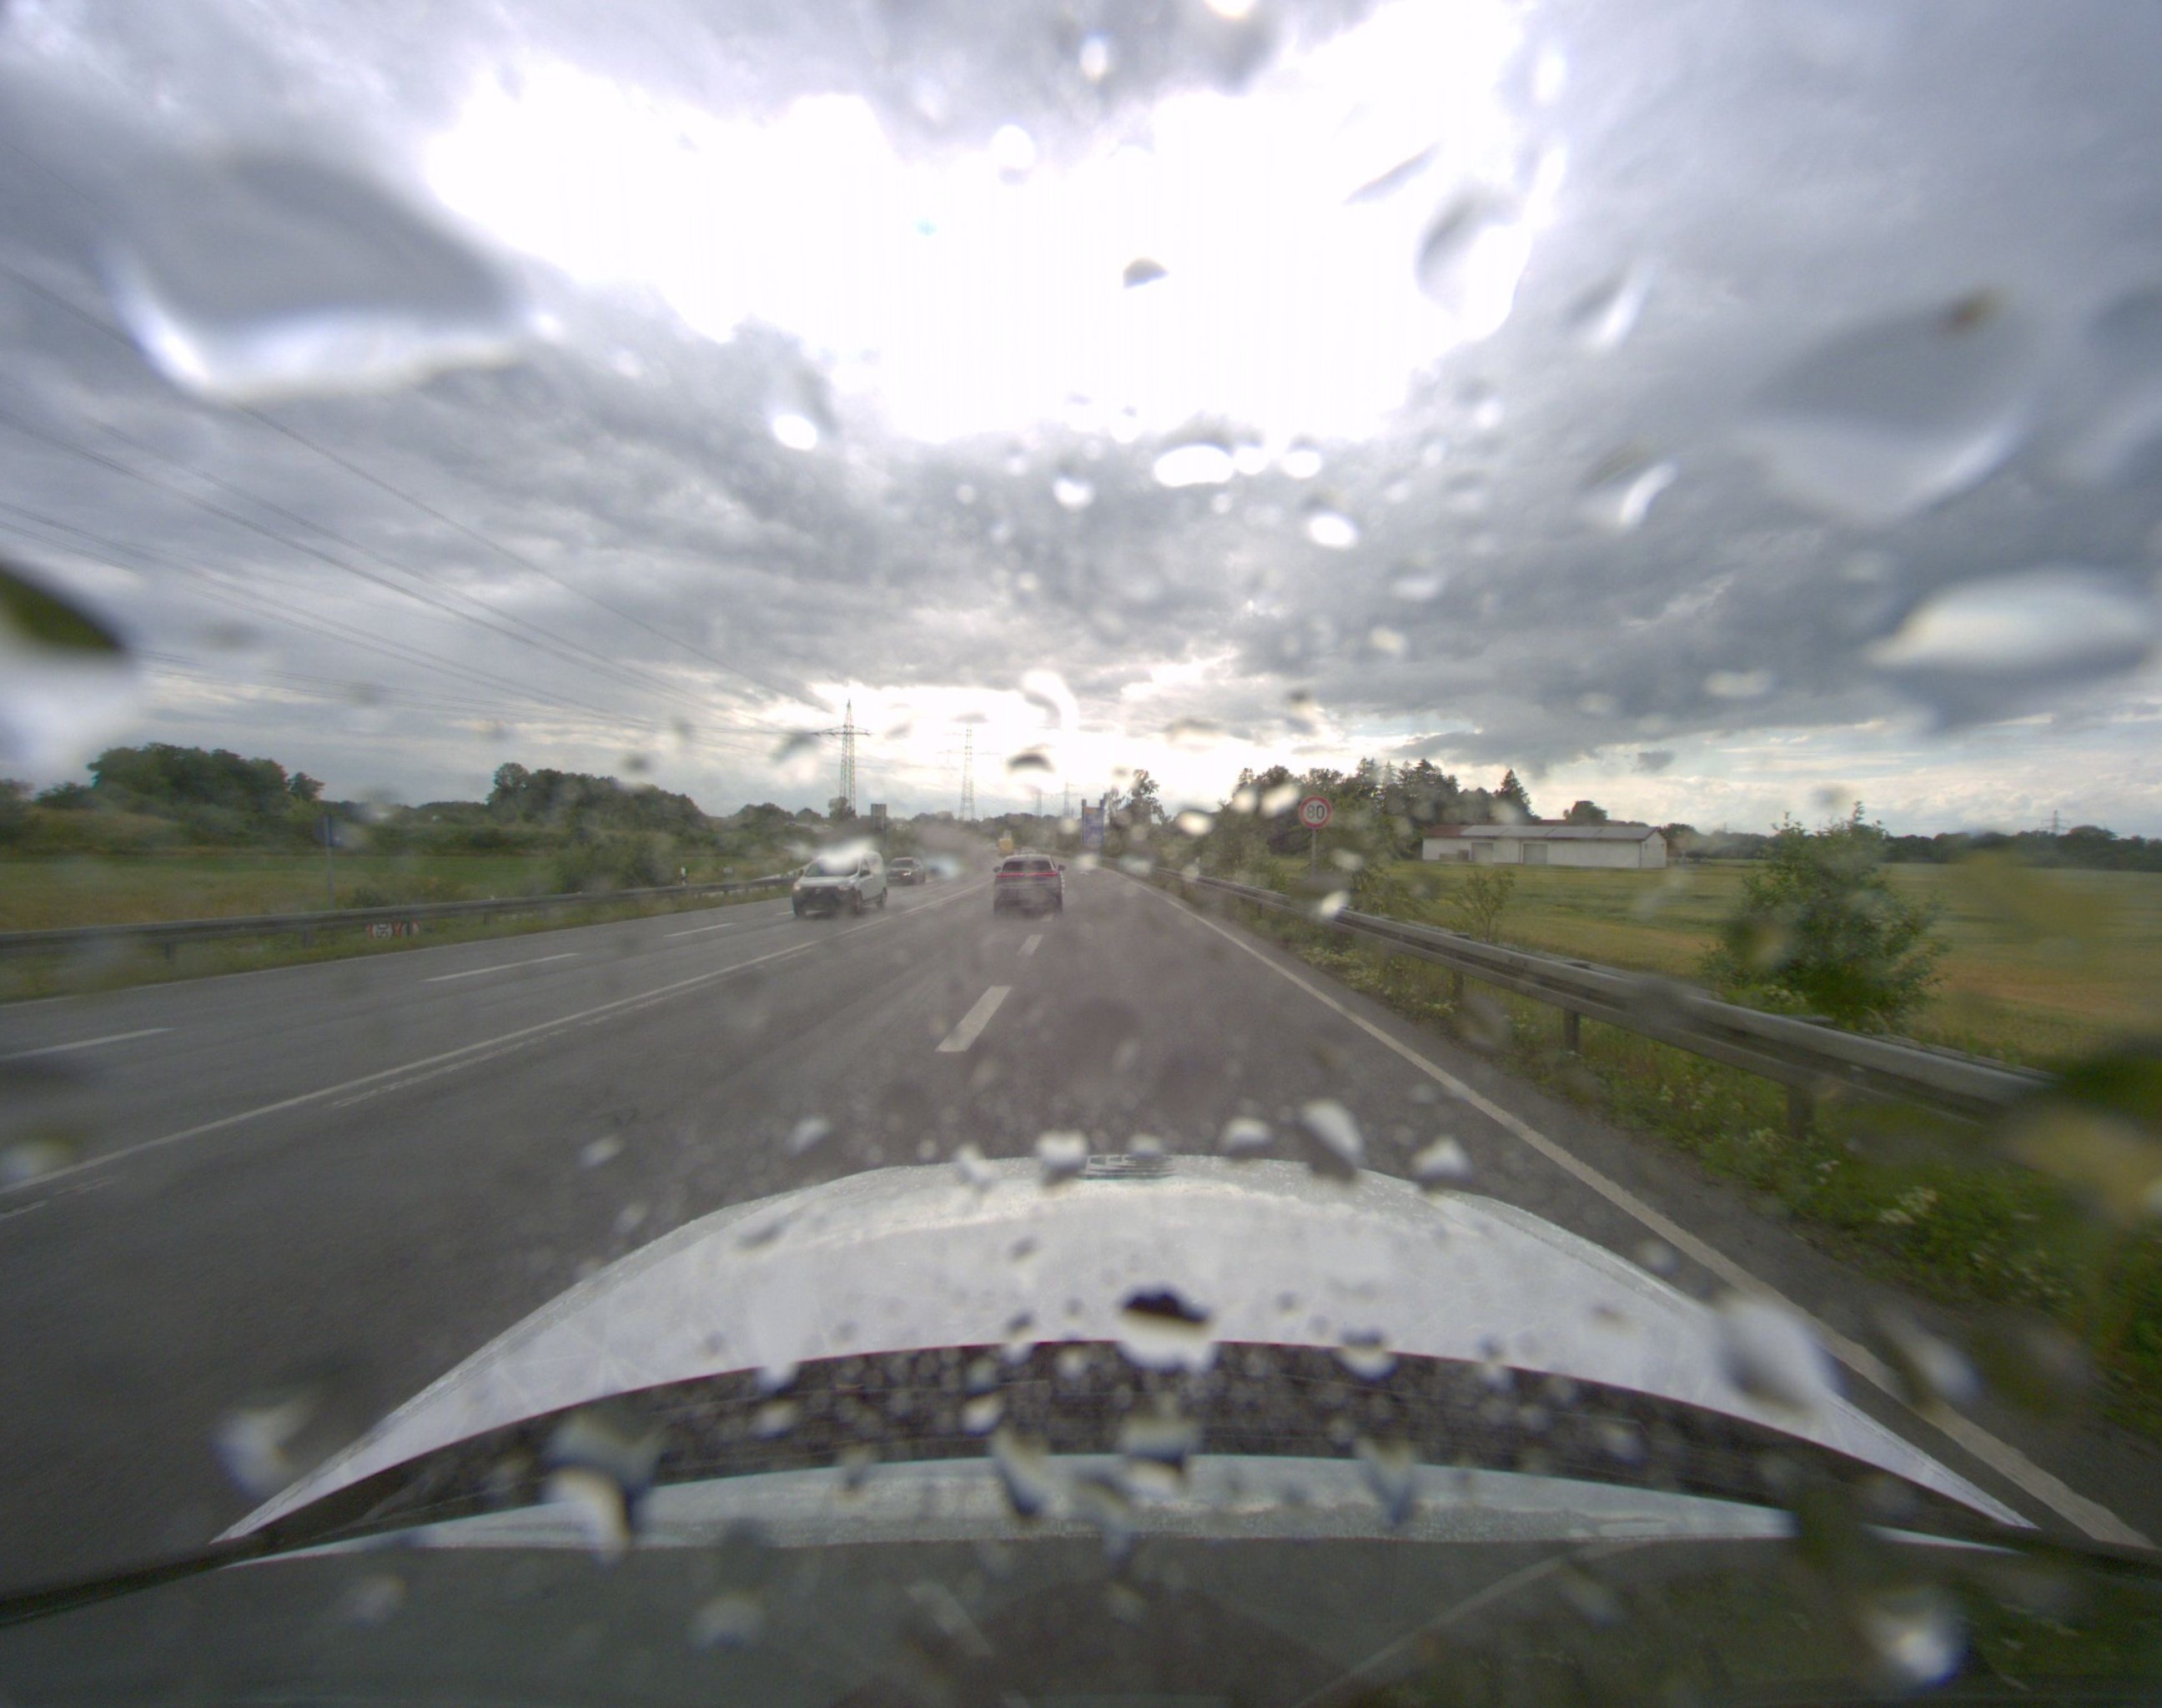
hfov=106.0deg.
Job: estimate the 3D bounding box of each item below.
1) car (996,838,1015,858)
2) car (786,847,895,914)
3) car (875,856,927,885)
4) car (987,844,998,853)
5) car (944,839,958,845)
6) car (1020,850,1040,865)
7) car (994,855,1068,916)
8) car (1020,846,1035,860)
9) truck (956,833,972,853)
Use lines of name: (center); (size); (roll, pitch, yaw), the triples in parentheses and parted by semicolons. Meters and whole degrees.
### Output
car: (-11.019, -0.864, 119.763); (2.568, 2.725, 7.186); (1, 0, -4)
car: (-6.728, 0.678, 23.245); (1.785, 1.666, 4.368); (2, 0, -1)
car: (-9.783, 0.888, 44.720); (1.891, 1.441, 4.896); (-2, 0, -2)
car: (-15.590, -0.936, 143.043); (1.790, 1.441, 3.989); (0, 0, -8)
car: (-30.914, -2.859, 193.553); (1.803, 1.441, 3.962); (3, 0, -30)
car: (-5.038, 0.326, 79.671); (1.789, 1.441, 3.992); (-2, 0, -6)
car: (-1.359, 0.772, 22.156); (1.788, 1.441, 3.995); (-2, 0, -4)
car: (-6.547, -0.138, 100.362); (1.787, 1.541, 3.996); (-1, 0, -3)
truck: (-20.905, -1.954, 144.970); (2.481, 3.291, 7.256); (-2, 1, -10)
